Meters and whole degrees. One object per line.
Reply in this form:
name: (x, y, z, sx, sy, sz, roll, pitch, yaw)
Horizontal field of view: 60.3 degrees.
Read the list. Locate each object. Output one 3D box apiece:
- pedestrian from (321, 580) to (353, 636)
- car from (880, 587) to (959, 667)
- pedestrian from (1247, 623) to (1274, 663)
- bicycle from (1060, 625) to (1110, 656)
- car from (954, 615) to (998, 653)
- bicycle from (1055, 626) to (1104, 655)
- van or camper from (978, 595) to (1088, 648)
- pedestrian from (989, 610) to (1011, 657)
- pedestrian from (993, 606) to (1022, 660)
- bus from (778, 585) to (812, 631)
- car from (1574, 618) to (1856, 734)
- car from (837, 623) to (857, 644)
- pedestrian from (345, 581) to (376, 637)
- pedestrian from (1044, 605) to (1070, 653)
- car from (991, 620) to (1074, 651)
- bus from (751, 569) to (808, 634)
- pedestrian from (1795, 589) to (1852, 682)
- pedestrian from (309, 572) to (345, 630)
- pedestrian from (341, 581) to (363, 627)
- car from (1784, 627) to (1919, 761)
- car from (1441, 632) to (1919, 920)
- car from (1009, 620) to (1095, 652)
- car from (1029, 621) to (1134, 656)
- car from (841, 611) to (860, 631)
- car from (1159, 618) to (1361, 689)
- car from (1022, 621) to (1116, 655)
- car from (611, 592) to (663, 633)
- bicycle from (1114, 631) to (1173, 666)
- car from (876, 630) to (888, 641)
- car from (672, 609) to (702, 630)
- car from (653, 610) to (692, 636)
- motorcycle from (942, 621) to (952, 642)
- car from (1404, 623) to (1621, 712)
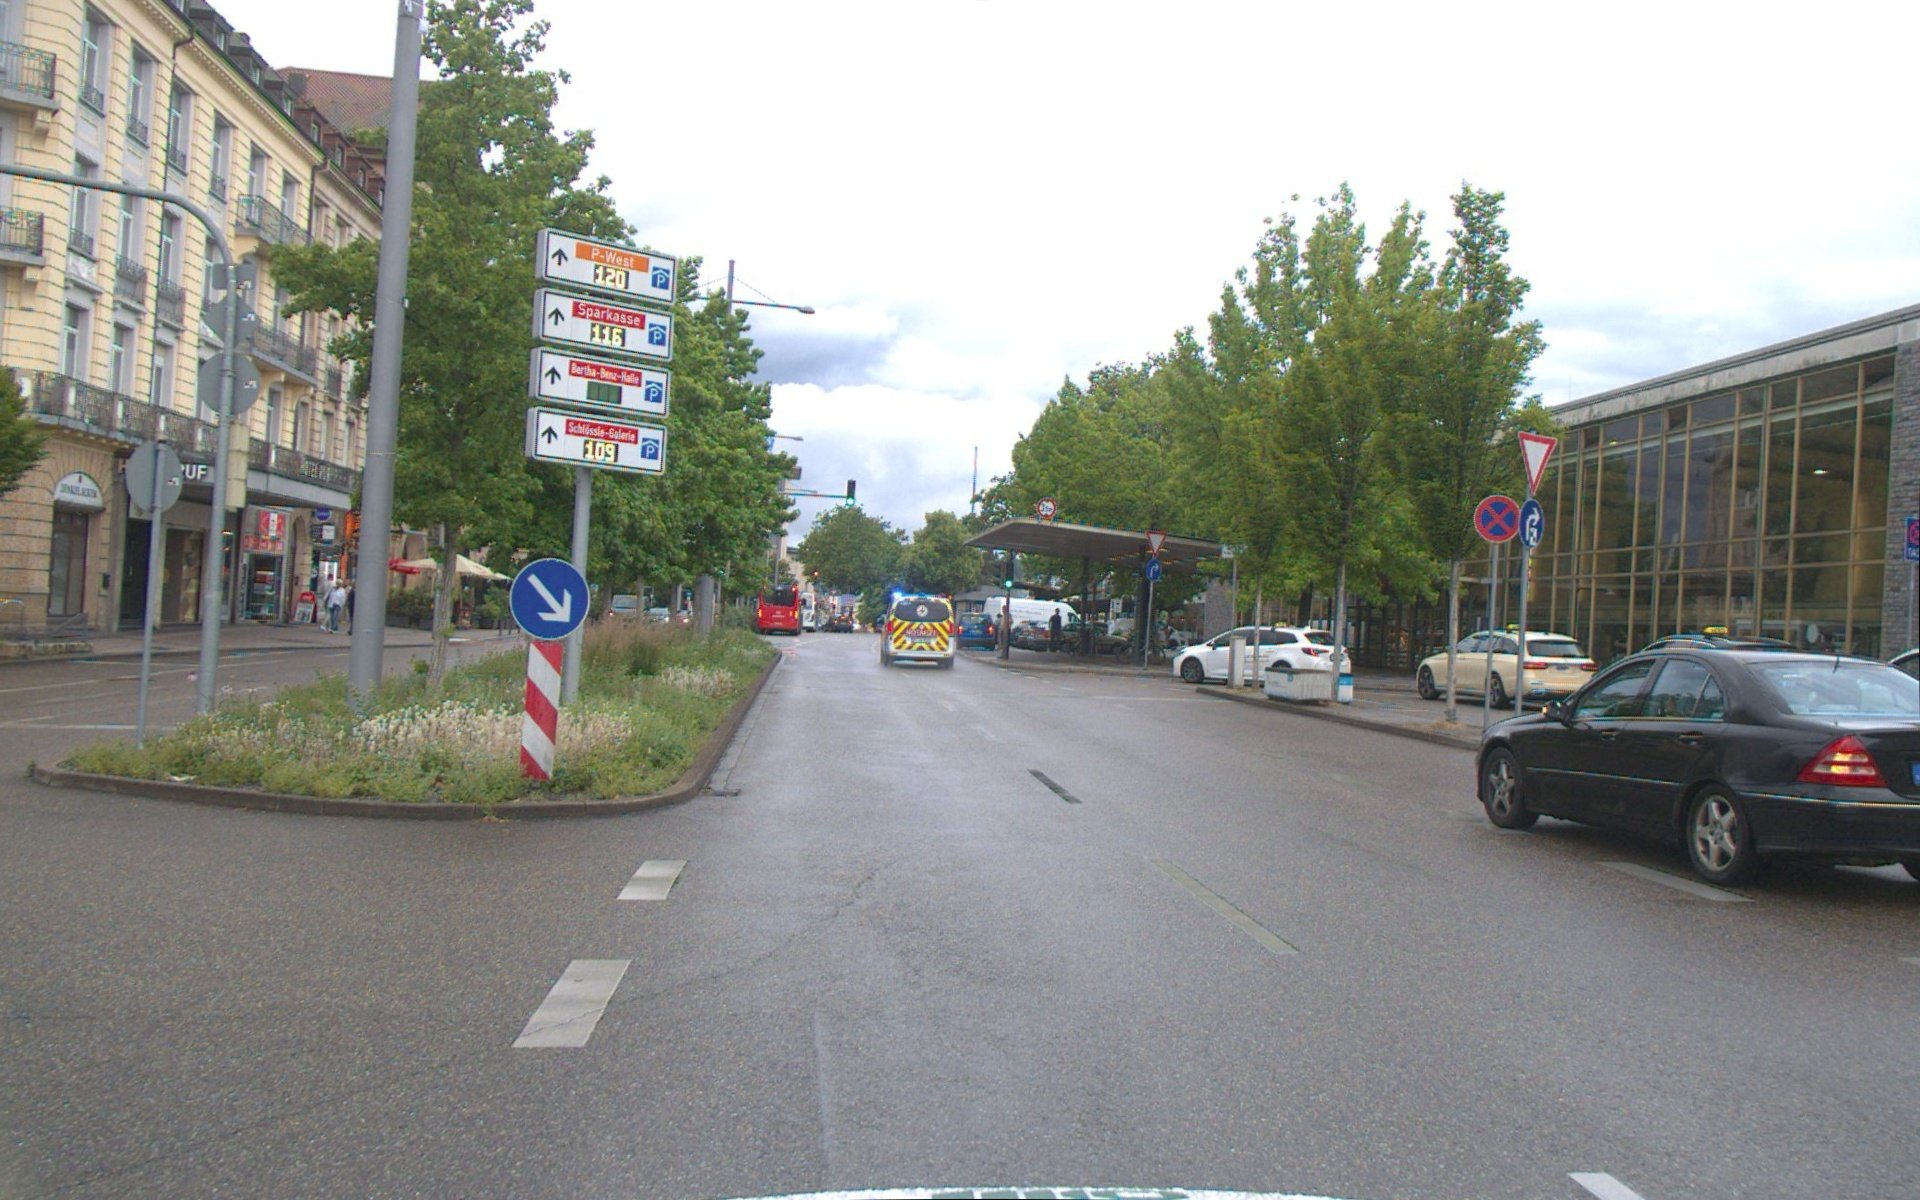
pedestrian: (-19.140, 0.248, 50.836, 0.668, 1.693, 0.807, 1, -1, -2)
car: (-1.174, 0.746, 45.530, 1.954, 2.049, 5.057, 1, -1, -4)
pedestrian: (12.021, 1.706, 66.159, 0.850, 1.586, 0.812, 1, -1, -12)
bicycle: (4.540, 1.473, 60.035, 1.802, 1.074, 0.417, 1, -1, -23)
car: (0.688, 1.539, 73.679, 1.821, 1.596, 3.999, 2, -1, -1)
bicycle: (4.386, 1.483, 60.467, 1.802, 1.074, 0.417, 1, -1, -23)
van or camper: (4.040, 1.213, 91.378, 5.889, 2.811, 2.175, 1, -1, -32)
pedestrian: (1.796, 1.497, 73.976, 0.816, 2.049, 0.887, 1, -1, -9)
pedestrian: (1.578, 1.099, 55.133, 0.733, 1.777, 0.833, 2, -2, -13)
bus: (-14.114, 0.726, 140.986, 2.751, 3.812, 10.430, 1, -1, -6)
car: (12.218, 1.162, 27.208, 1.955, 1.627, 4.952, 2, -1, -6)
car: (-10.980, 3.225, 160.597, 1.954, 2.049, 3.996, 1, -1, -4)
pedestrian: (-18.443, 0.287, 50.913, 0.668, 1.693, 0.806, 1, -1, -5)
pedestrian: (3.861, 1.173, 65.804, 0.840, 1.867, 1.188, 1, -2, -5)
car: (3.747, 1.852, 85.271, 3.947, 1.468, 1.845, 3, -2, -32)
bus: (-11.996, 0.170, 109.361, 3.477, 4.049, 11.153, 1, -1, -7)
pedestrian: (15.702, 0.646, 30.058, 0.783, 1.655, 0.719, 0, -1, 41)
pedestrian: (-20.119, 0.039, 52.569, 0.862, 1.844, 0.749, 1, -1, -5)
pedestrian: (-22.461, 0.145, 61.102, 0.655, 1.693, 0.535, 1, -1, -13)
car: (12.873, 1.197, 21.129, 1.954, 1.627, 4.953, 1, 0, -4)
car: (5.030, 0.982, 11.071, 1.664, 1.491, 4.440, 1, -1, -11)
car: (4.643, 1.831, 83.146, 3.947, 1.468, 1.845, 3, -2, -32)
car: (5.201, 1.652, 70.948, 4.131, 1.348, 1.826, 3, -2, -25)
car: (-11.658, 2.232, 176.024, 1.954, 2.049, 3.996, 1, -1, -4)
car: (7.190, 1.270, 40.010, 1.750, 1.573, 4.699, 3, -2, -44)
car: (4.927, 1.702, 74.600, 3.954, 1.383, 1.841, 3, -2, -36)
car: (-16.847, 0.662, 86.489, 1.954, 2.049, 4.997, 1, -1, -3)
bicycle: (5.723, 1.512, 51.660, 1.792, 1.074, 0.420, 1, -1, -5)
car: (-11.527, 5.283, 244.797, 1.563, 1.588, 3.646, 1, -1, -4)
car: (-19.221, 1.370, 116.506, 1.713, 1.455, 3.949, 1, -1, -4)
car: (-17.983, 1.431, 103.506, 1.954, 1.570, 4.628, 1, -1, -4)
motorcycle: (-0.843, 2.044, 107.869, 0.583, 1.311, 1.953, 1, -1, 1)
car: (11.126, 1.310, 33.735, 1.959, 1.627, 4.942, 1, 0, -12)
